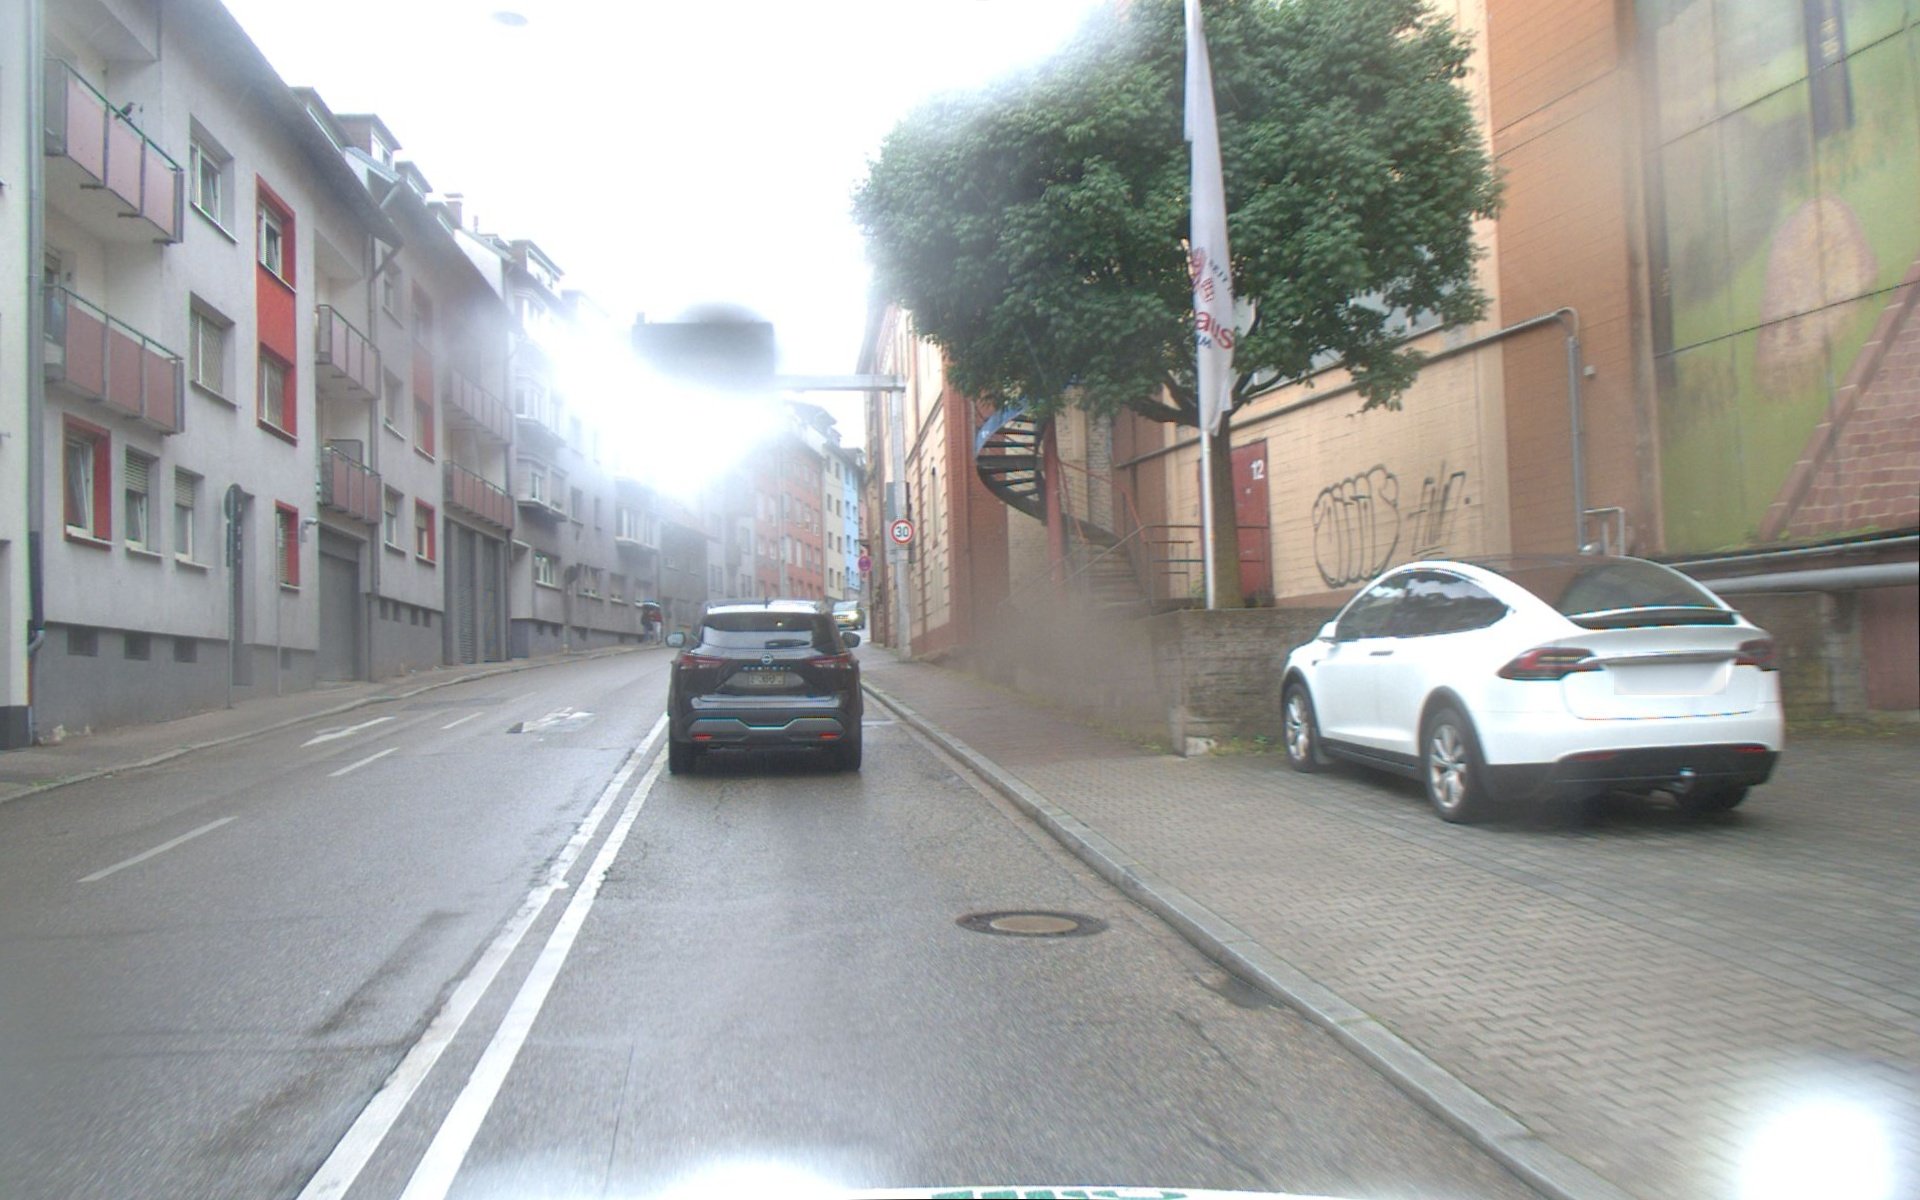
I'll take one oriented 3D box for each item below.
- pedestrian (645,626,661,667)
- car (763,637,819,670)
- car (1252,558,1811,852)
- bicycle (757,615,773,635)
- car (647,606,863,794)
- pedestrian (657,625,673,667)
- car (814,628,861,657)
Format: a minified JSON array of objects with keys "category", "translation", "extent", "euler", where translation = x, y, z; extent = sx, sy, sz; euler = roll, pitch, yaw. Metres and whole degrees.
[{"category":"pedestrian","translation":[-13.529,2.044,72.887],"extent":[0.512,1.807,0.622],"euler":[-2,0,-1]},{"category":"car","translation":[-8.118,2.592,79.797],"extent":[1.756,1.537,4.002],"euler":[-2,-2,8]},{"category":"car","translation":[3.773,0.576,12.036],"extent":[1.818,1.645,4.907],"euler":[-1,1,-8]},{"category":"bicycle","translation":[-11.691,1.506,99.160],"extent":[0.488,1.127,1.801],"euler":[-2,1,6]},{"category":"car","translation":[-2.076,0.891,16.437],"extent":[1.846,1.622,3.913],"euler":[1,0,-9]},{"category":"pedestrian","translation":[-12.991,2.028,72.896],"extent":[0.512,1.807,0.622],"euler":[-2,0,-1]},{"category":"car","translation":[-6.850,2.407,92.730],"extent":[1.756,1.537,4.002],"euler":[-2,-2,8]}]
